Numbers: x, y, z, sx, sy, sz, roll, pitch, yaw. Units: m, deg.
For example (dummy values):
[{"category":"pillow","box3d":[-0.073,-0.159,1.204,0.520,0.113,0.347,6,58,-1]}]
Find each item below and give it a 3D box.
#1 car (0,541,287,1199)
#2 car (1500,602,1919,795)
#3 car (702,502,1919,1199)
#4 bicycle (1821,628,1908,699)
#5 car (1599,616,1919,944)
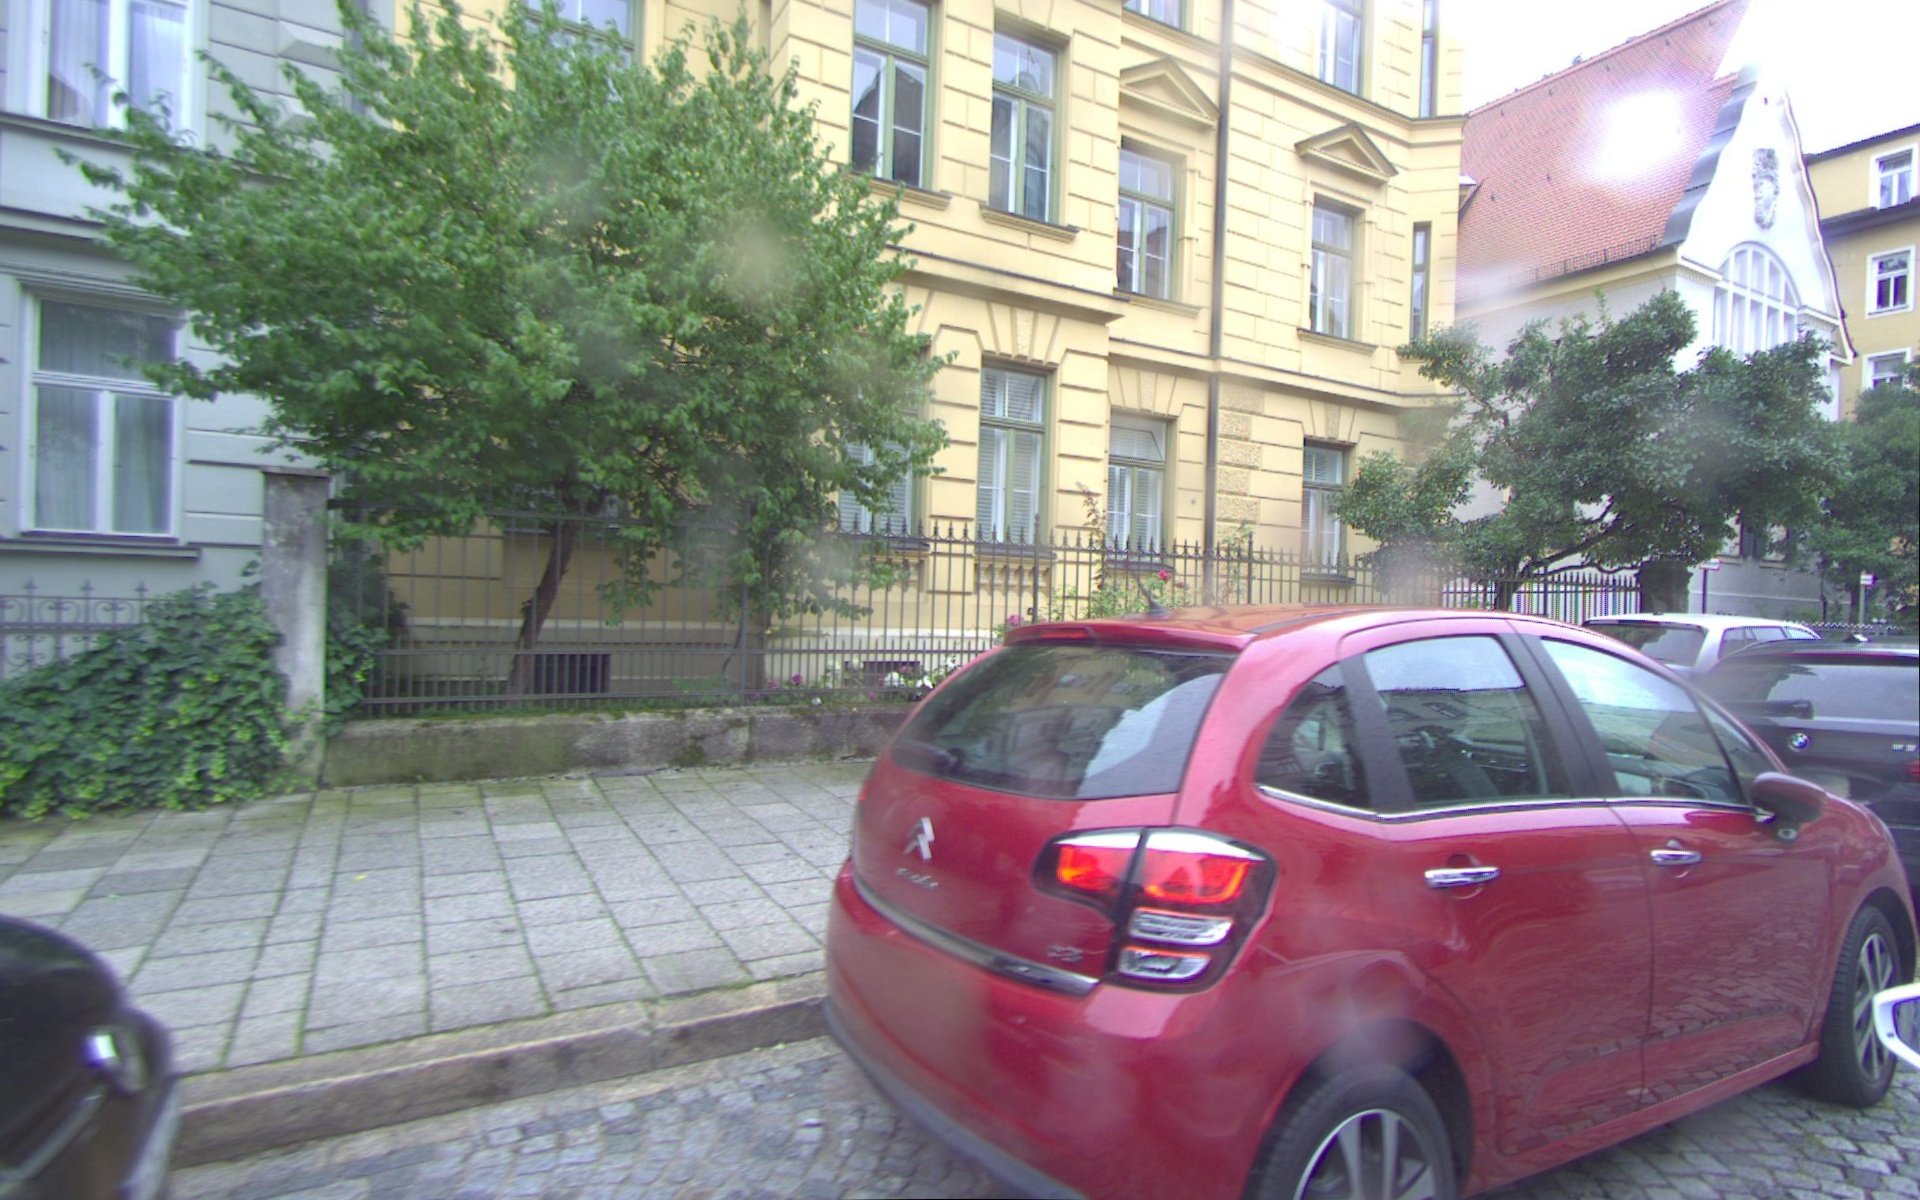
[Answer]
[{"category":"car","box3d":[-3.381,0.651,0.773,4.589,1.529,1.809,3,-3,-31]},{"category":"car","box3d":[7.535,0.856,9.915,4.337,1.485,1.833,2,1,-30]},{"category":"car","box3d":[1.474,0.732,3.309,4.145,1.607,1.832,2,-1,-31]},{"category":"bicycle","box3d":[17.344,1.207,19.251,2.036,1.275,0.603,2,1,-30]},{"category":"car","box3d":[6.329,0.907,6.336,5.076,1.489,1.860,2,-1,-32]}]
